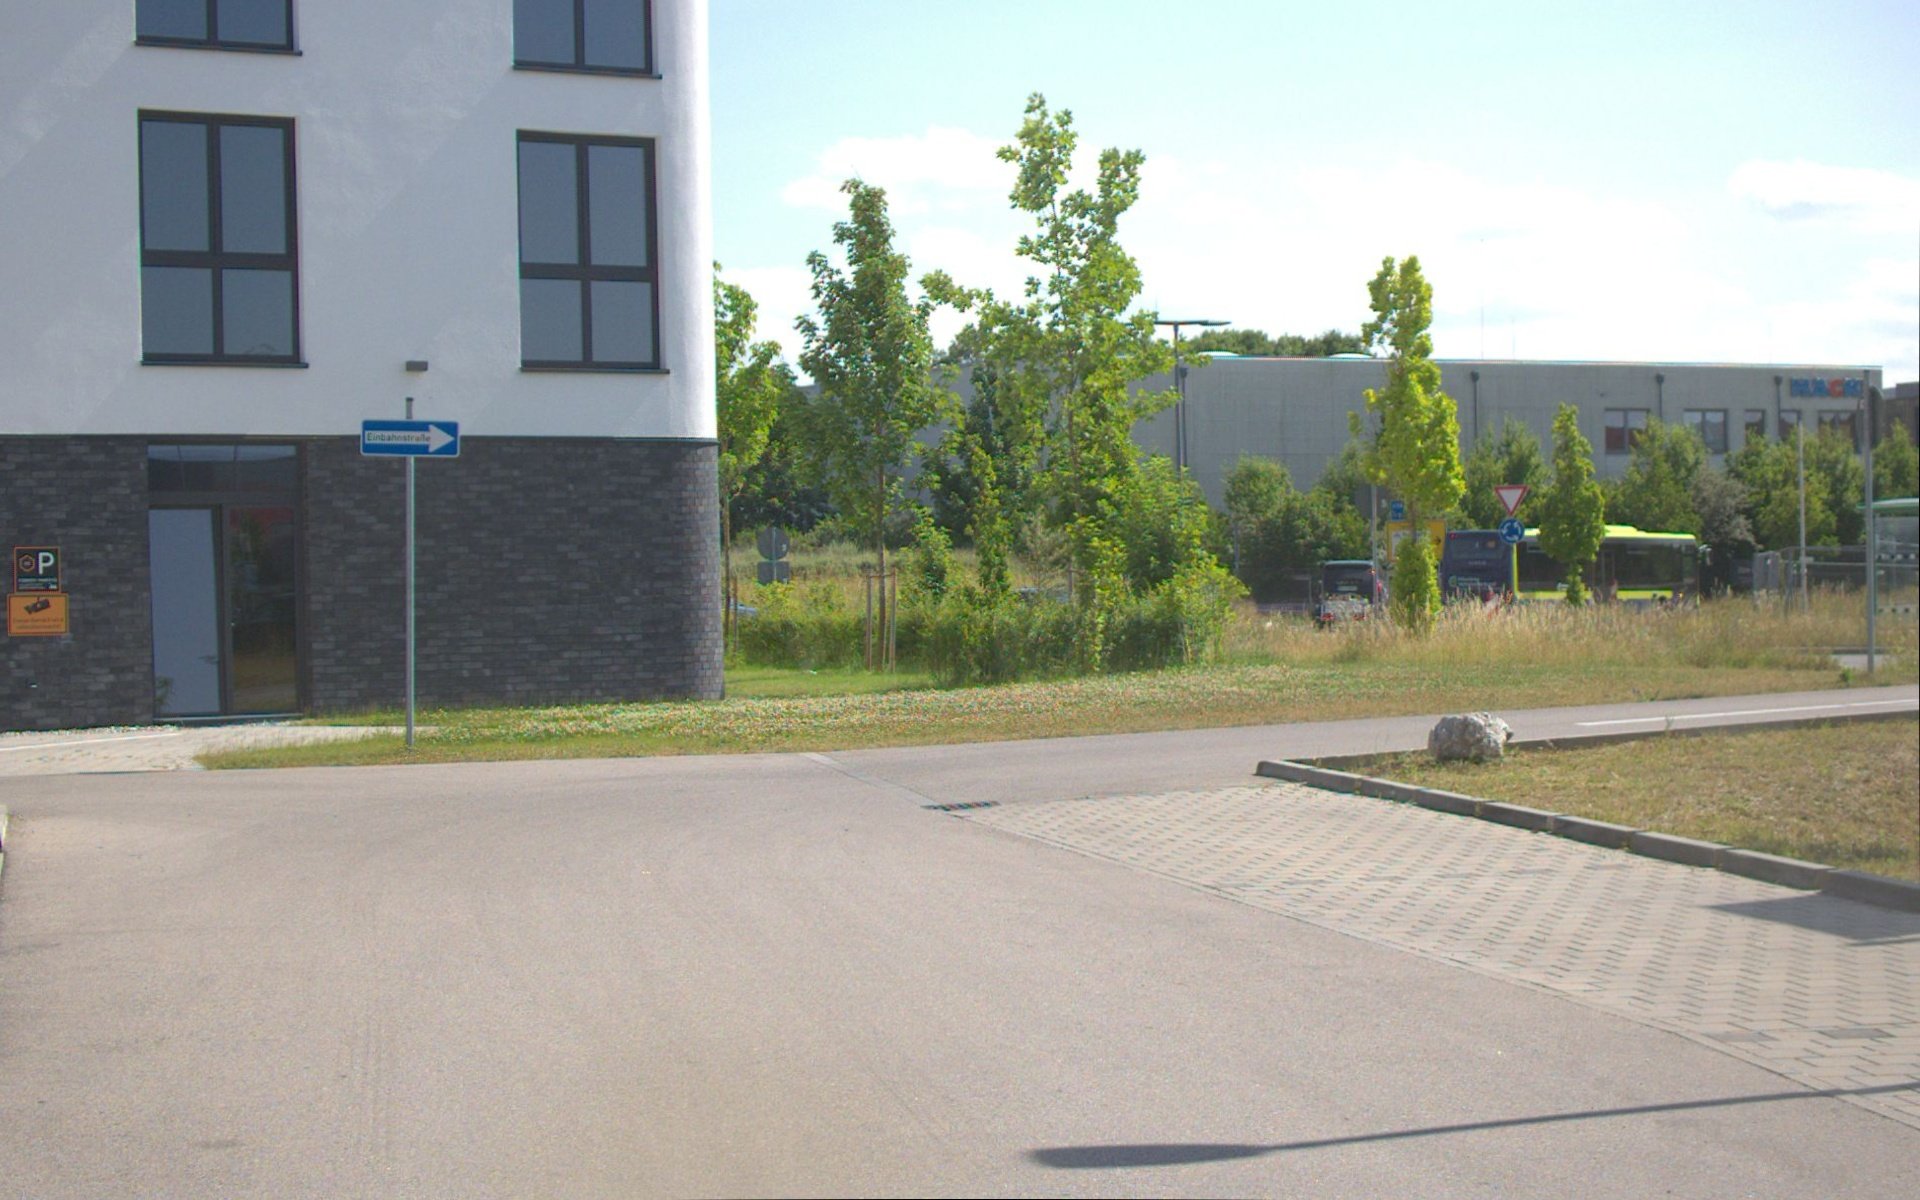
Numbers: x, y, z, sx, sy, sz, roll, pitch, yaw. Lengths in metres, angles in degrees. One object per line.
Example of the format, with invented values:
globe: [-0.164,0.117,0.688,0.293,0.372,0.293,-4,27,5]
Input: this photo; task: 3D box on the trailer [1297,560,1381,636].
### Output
trailer: [9.417,-0.069,85.221,1.823,1.853,3.998,0,1,9]

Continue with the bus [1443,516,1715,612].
bus: [19.260,-1.162,106.168,2.578,2.726,11.541,0,1,42]

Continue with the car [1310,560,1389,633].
car: [10.121,-0.117,89.101,1.823,1.853,3.998,0,1,9]
